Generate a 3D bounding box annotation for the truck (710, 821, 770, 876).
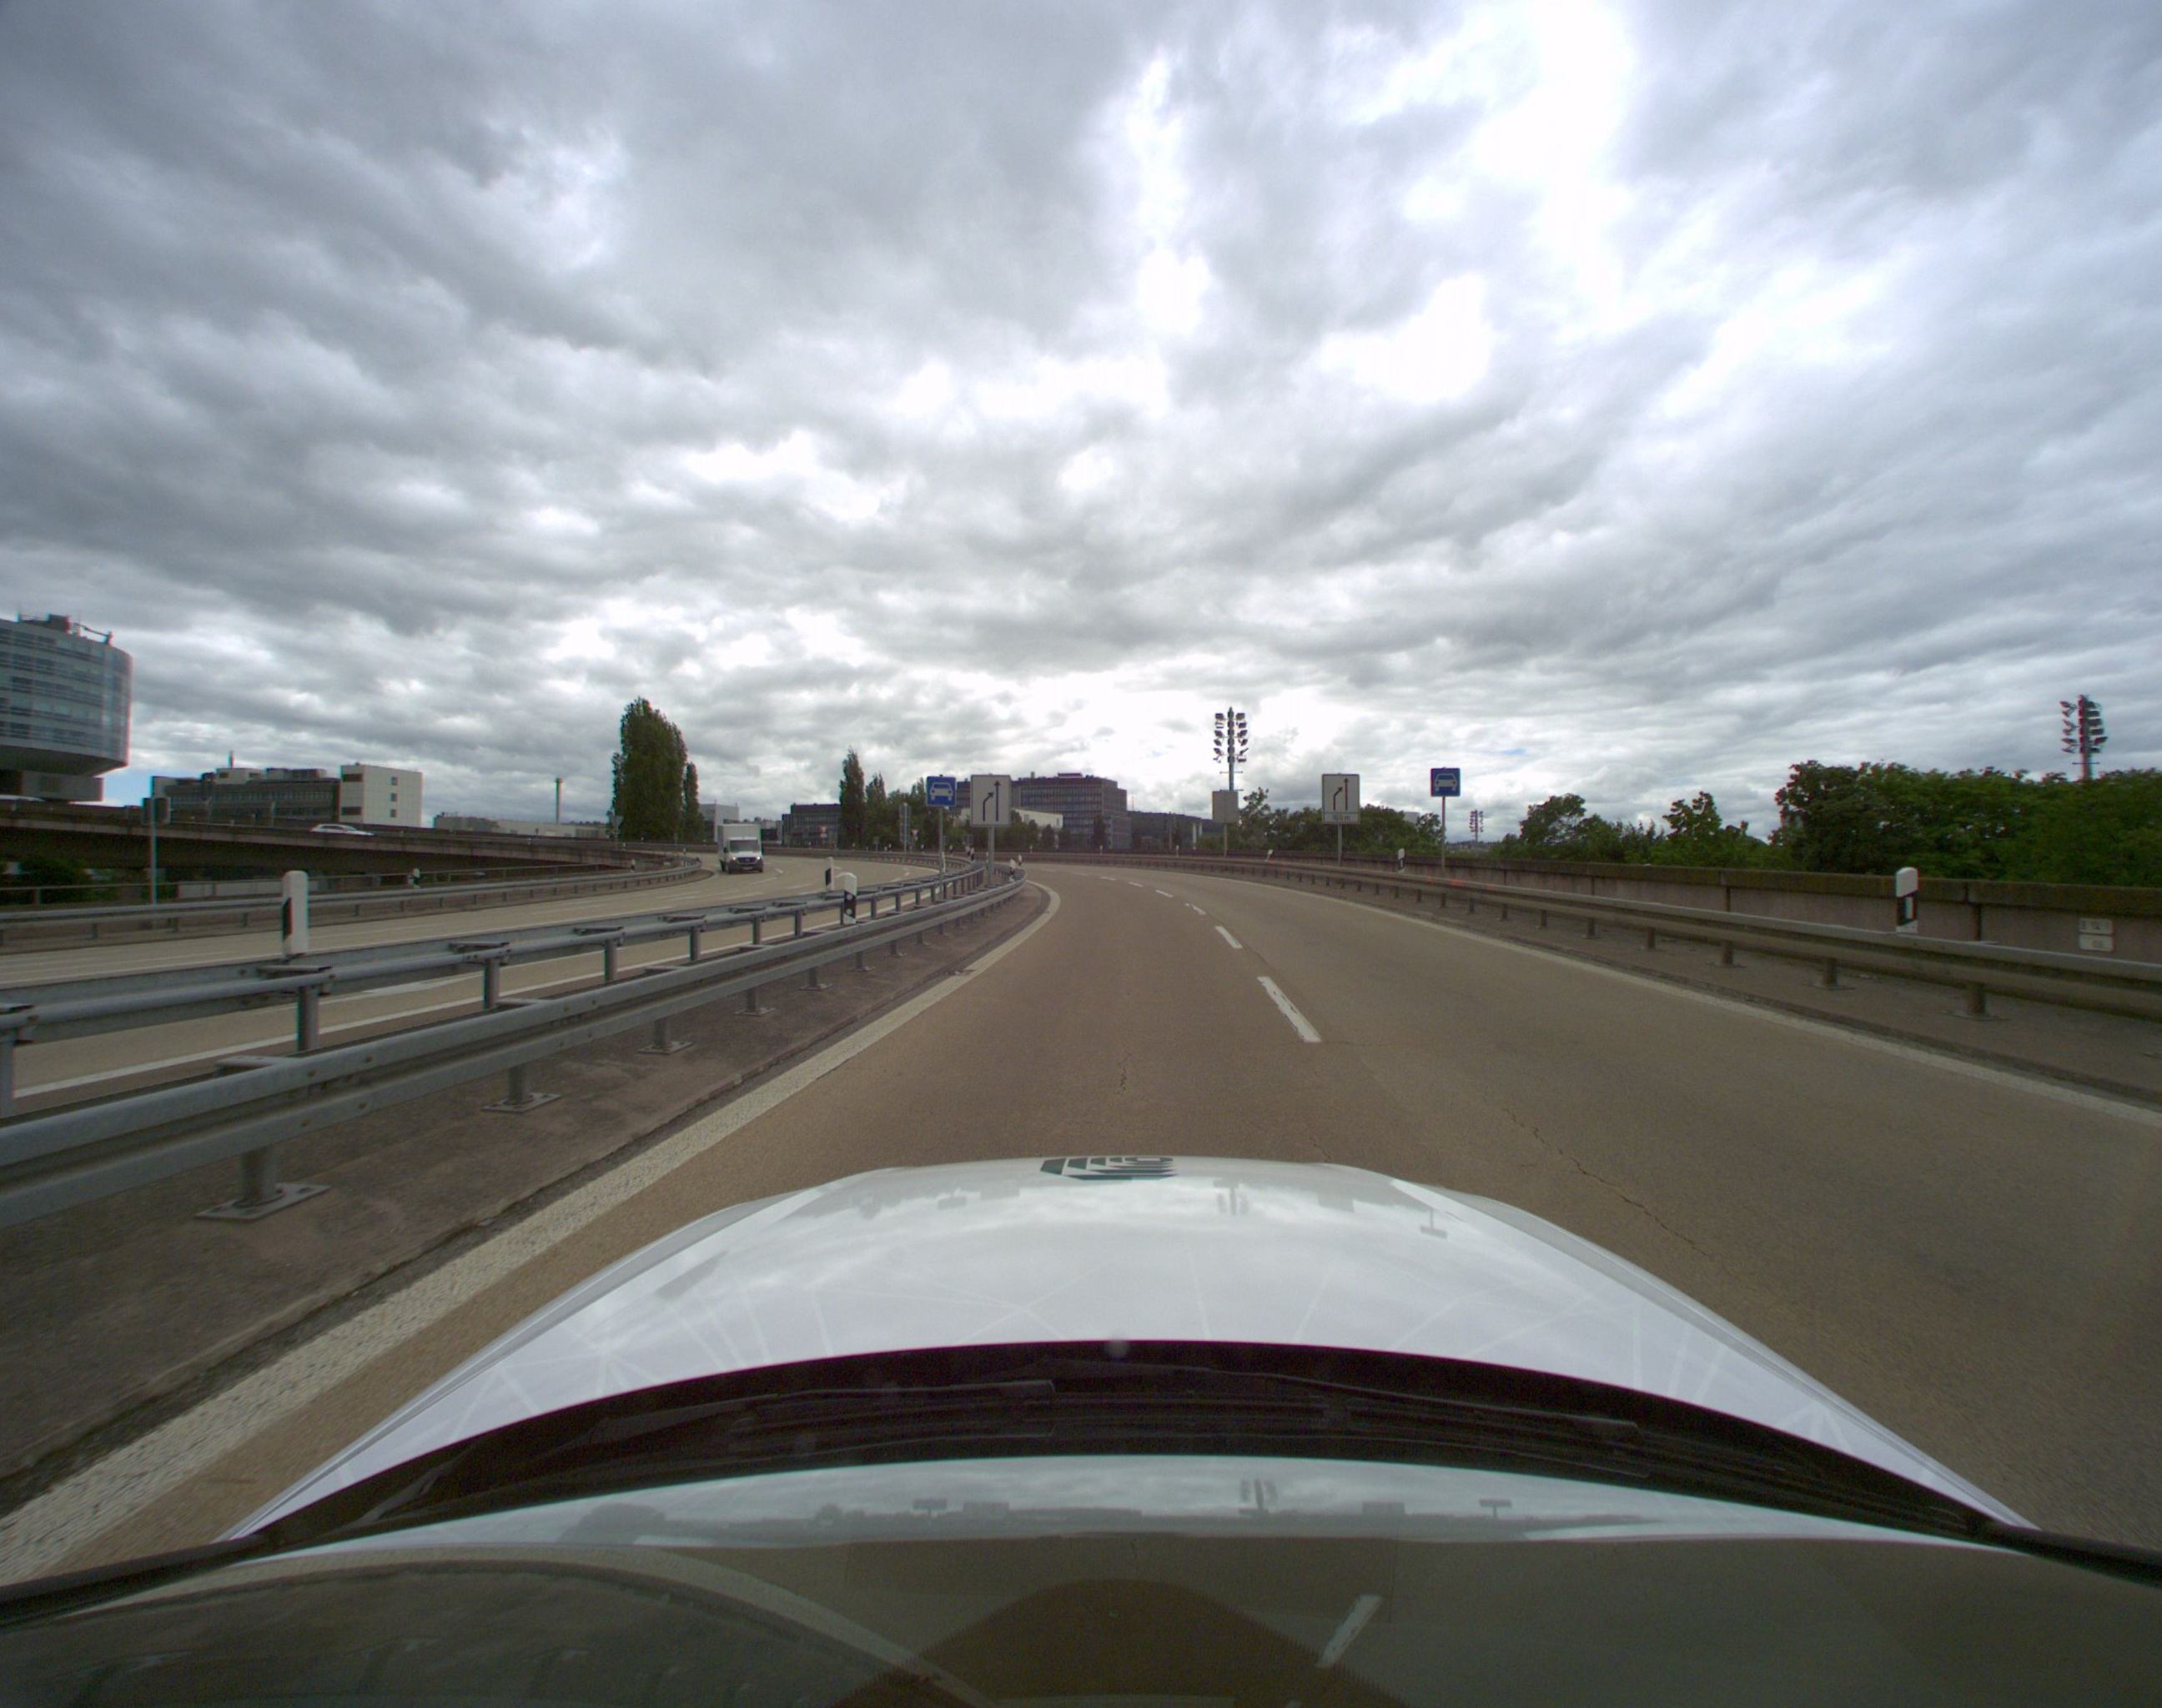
[{"bbox_3d":[-21.687,-0.365,51.574,2.360,3.263,6.926,1,0,-32],"label":"truck"}]
